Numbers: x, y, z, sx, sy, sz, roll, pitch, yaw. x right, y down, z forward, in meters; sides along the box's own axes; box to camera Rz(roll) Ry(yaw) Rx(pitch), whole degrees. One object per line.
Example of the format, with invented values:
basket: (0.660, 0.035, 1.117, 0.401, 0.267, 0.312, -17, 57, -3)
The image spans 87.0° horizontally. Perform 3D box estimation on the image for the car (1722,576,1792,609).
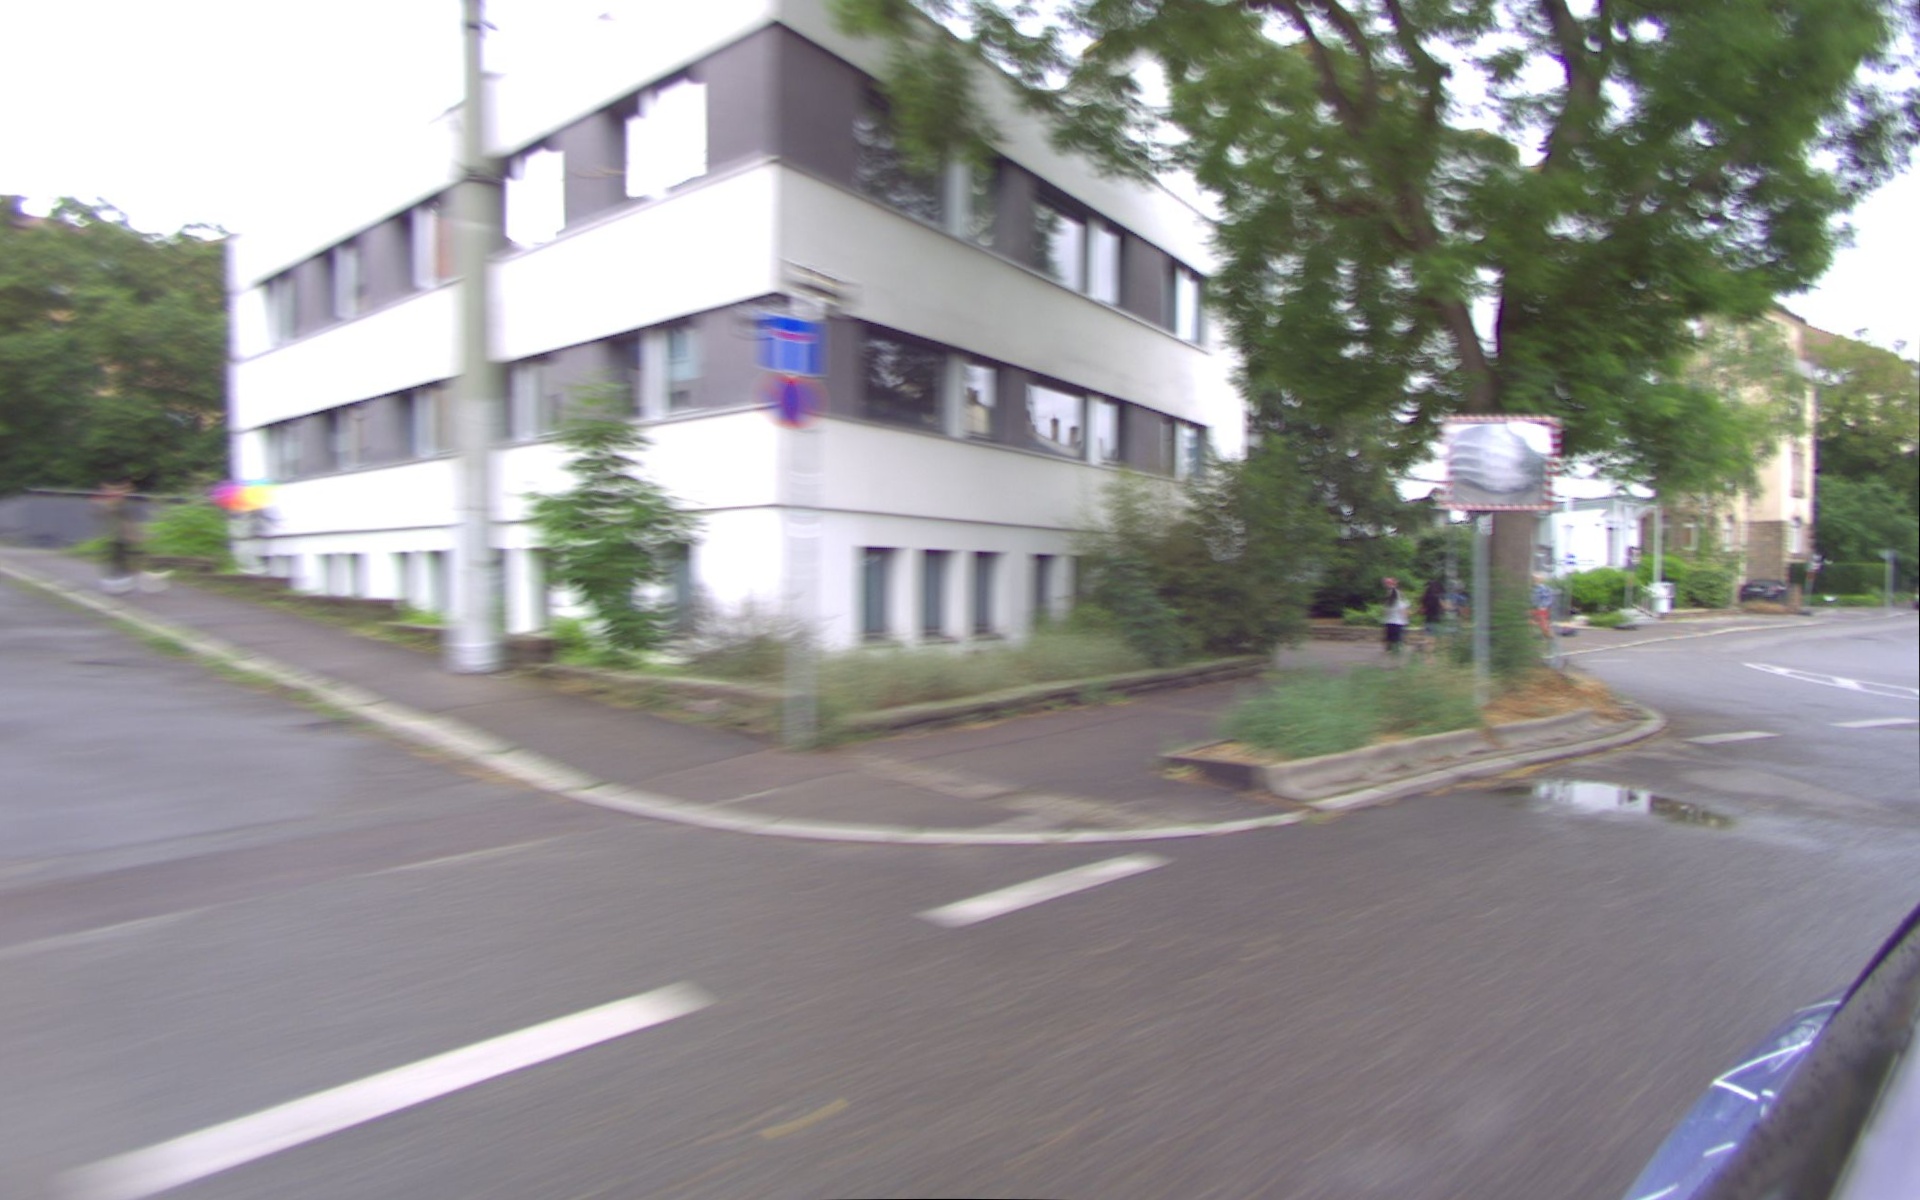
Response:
car: (38.766, -0.369, 49.226, 3.563, 1.358, 1.601, 4, -1, -33)

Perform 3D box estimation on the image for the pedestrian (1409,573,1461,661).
pedestrian: (8.797, 0.307, 18.744, 0.534, 1.586, 0.603, 4, -1, -18)

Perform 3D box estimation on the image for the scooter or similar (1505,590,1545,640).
scooter or similar: (15.323, 0.397, 27.424, 1.080, 1.306, 0.464, -2, 2, -31)

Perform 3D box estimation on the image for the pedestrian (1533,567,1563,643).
pedestrian: (15.504, 0.121, 26.667, 0.540, 1.946, 0.905, 2, 2, 36)

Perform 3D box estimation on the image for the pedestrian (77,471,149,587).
pedestrian: (-12.951, -1.070, 15.477, 0.700, 1.700, 0.640, 2, 0, 37)

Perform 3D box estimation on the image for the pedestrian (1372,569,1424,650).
pedestrian: (9.900, 0.214, 22.876, 0.743, 1.720, 0.662, 7, 1, 44)

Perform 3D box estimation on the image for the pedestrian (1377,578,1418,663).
pedestrian: (8.107, 0.372, 18.754, 0.377, 1.525, 0.540, 1, 2, -15)

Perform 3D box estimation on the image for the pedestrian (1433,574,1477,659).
pedestrian: (9.933, 0.334, 20.314, 0.591, 1.650, 0.545, 4, -2, -41)
